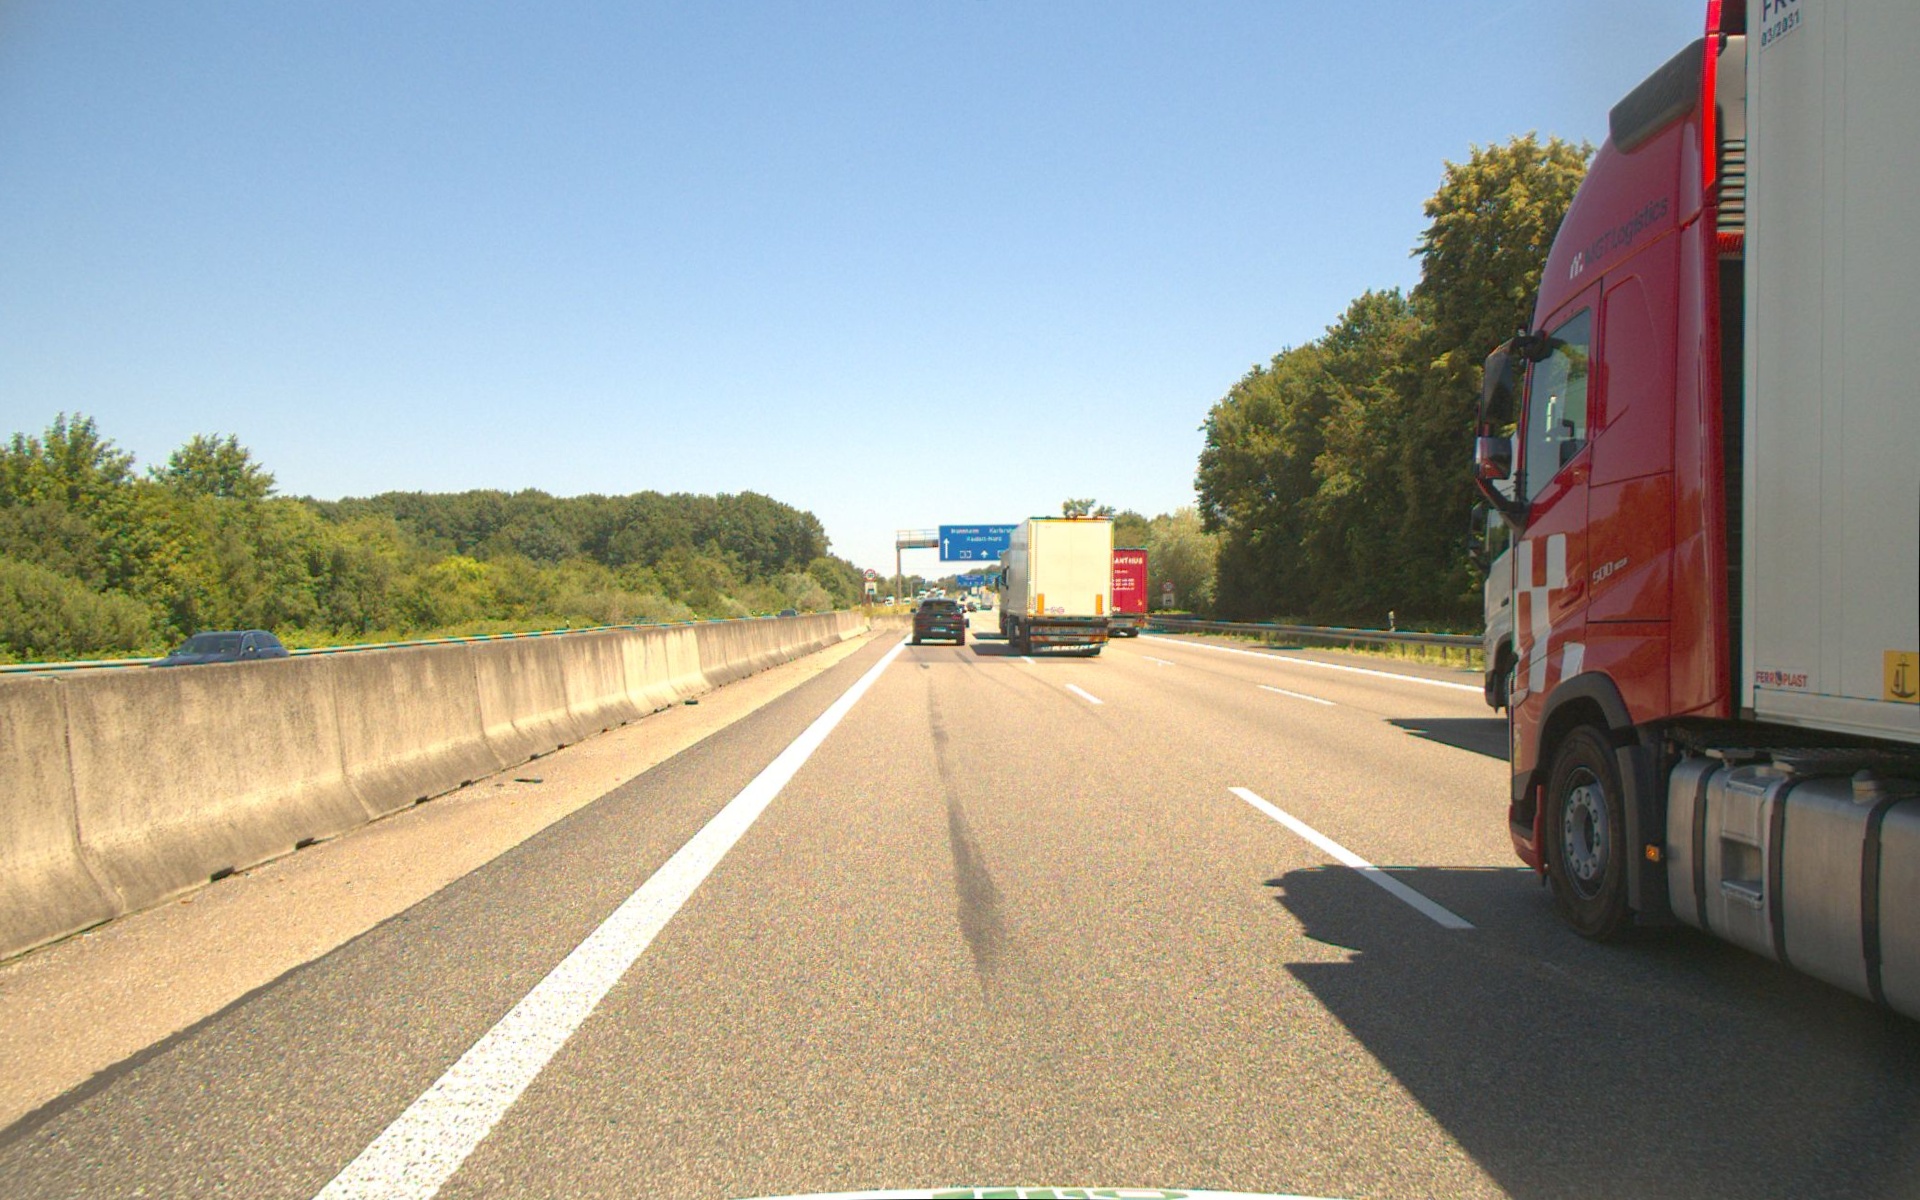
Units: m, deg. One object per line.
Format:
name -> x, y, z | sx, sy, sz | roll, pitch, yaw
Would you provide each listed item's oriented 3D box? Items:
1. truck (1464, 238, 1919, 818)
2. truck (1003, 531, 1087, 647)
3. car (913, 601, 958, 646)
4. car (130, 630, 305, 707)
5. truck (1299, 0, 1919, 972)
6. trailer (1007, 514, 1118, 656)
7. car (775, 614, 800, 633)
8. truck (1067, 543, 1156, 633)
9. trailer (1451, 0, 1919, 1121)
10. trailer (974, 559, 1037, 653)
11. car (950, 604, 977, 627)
truck -> 8.372, -0.481, 17.124 | 2.963, 4.164, 10.977 | 1, 0, 0
truck -> 3.071, -0.390, 61.369 | 2.743, 4.077, 6.019 | 0, 0, -1
car -> -0.921, 0.854, 61.972 | 1.626, 1.576, 3.782 | 1, 0, -1
car -> -17.085, 1.524, 38.327 | 1.869, 1.504, 4.824 | -3, 0, -1
truck -> 4.123, -0.515, 9.732 | 2.881, 4.055, 6.100 | 1, 0, -1
trailer -> 3.137, -0.410, 54.132 | 2.738, 4.106, 12.565 | 0, 0, -1
car -> -14.490, 1.968, 139.155 | 1.734, 1.497, 3.999 | -2, 0, -1
truck -> 7.480, -0.530, 83.772 | 2.993, 4.178, 13.214 | 1, 0, -1
trailer -> 4.289, -0.550, 0.976 | 2.878, 4.088, 16.196 | 1, 0, -1
trailer -> 2.084, 0.361, 80.519 | 2.652, 4.139, 14.744 | 0, -1, 0
car -> 0.244, 0.991, 108.901 | 1.704, 1.512, 4.000 | 0, 0, 0
